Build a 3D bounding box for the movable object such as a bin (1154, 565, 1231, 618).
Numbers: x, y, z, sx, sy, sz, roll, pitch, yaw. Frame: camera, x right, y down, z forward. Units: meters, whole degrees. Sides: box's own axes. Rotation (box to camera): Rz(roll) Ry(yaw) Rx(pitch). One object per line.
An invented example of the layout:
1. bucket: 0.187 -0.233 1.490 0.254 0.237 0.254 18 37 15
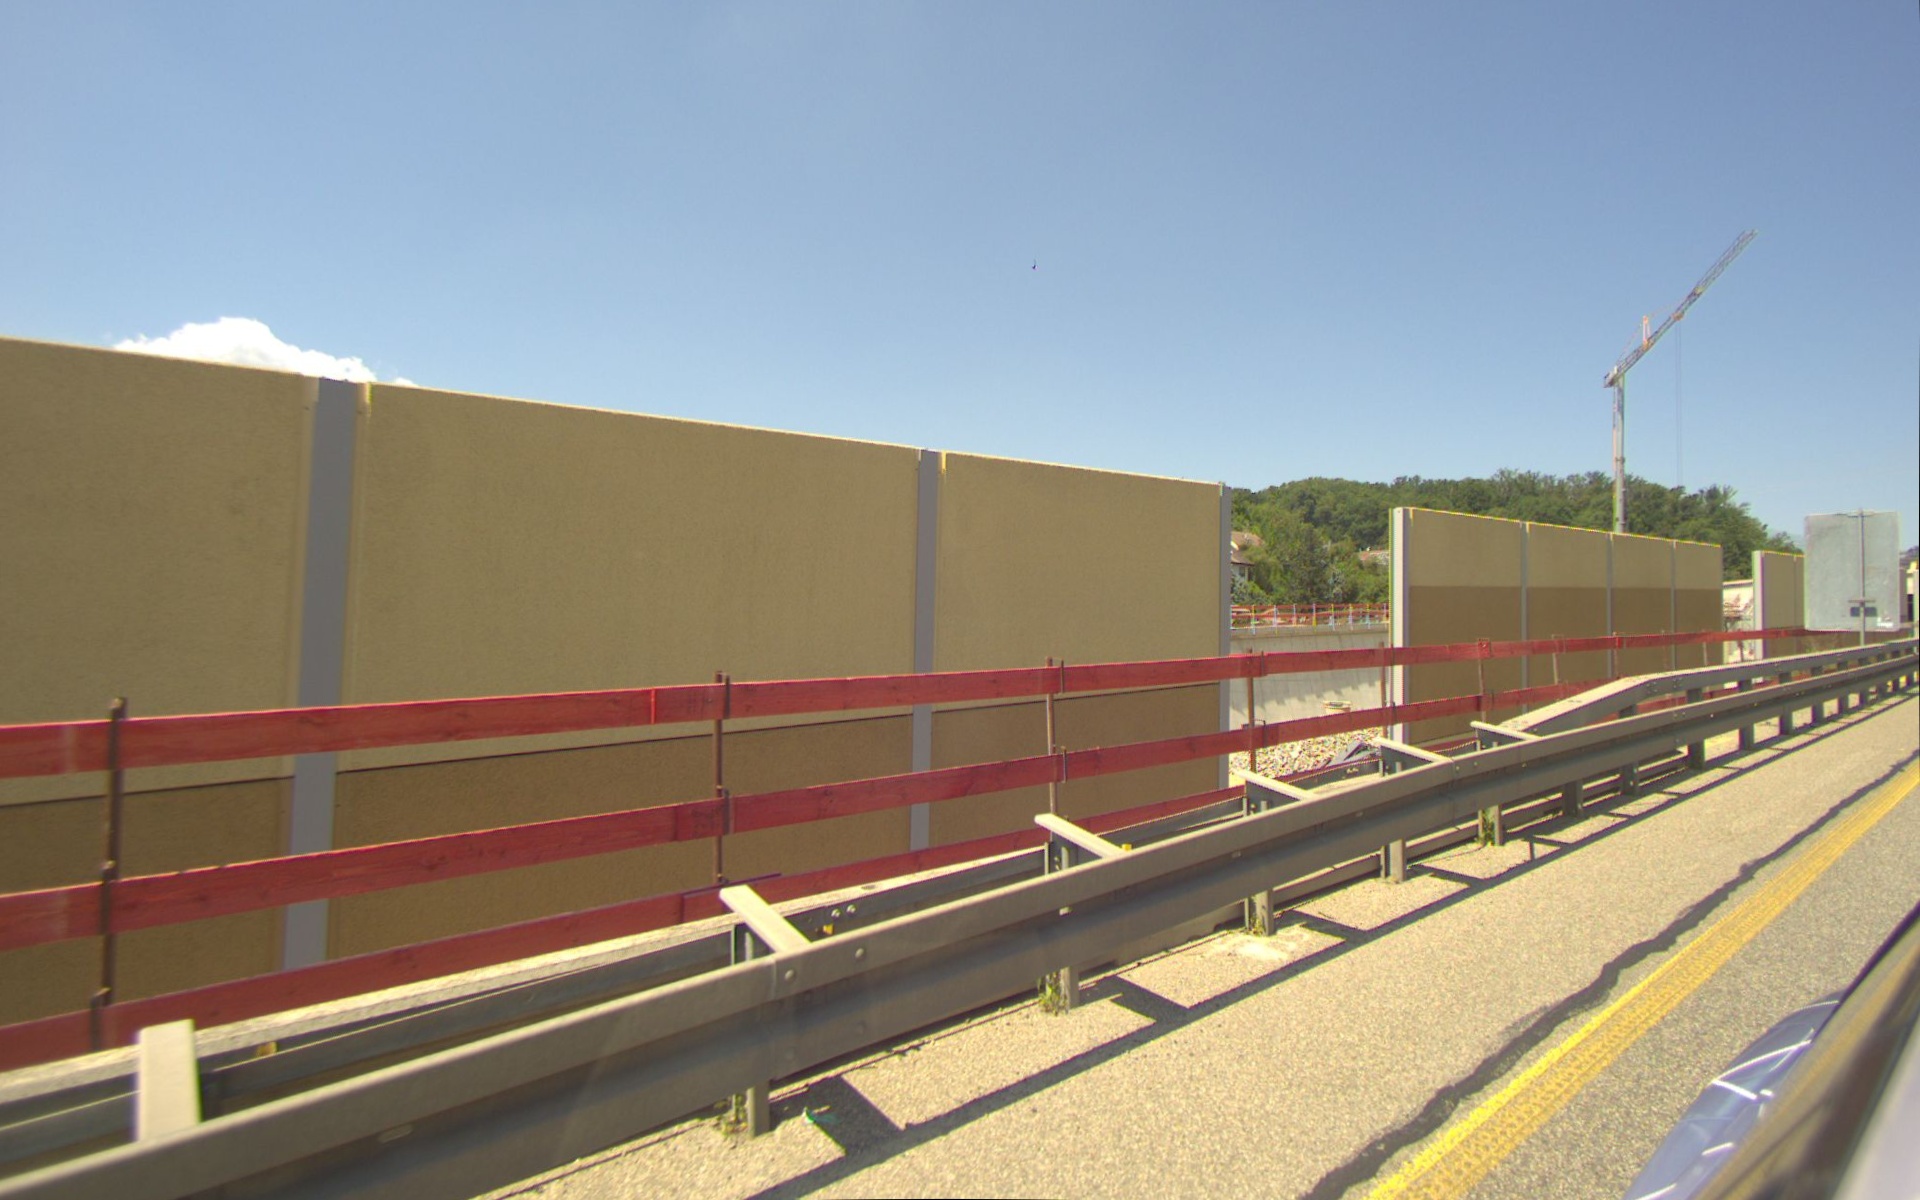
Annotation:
1. movable object such as a bin: 14.343 -0.476 62.241 4.831 3.123 2.201 0 0 -40
